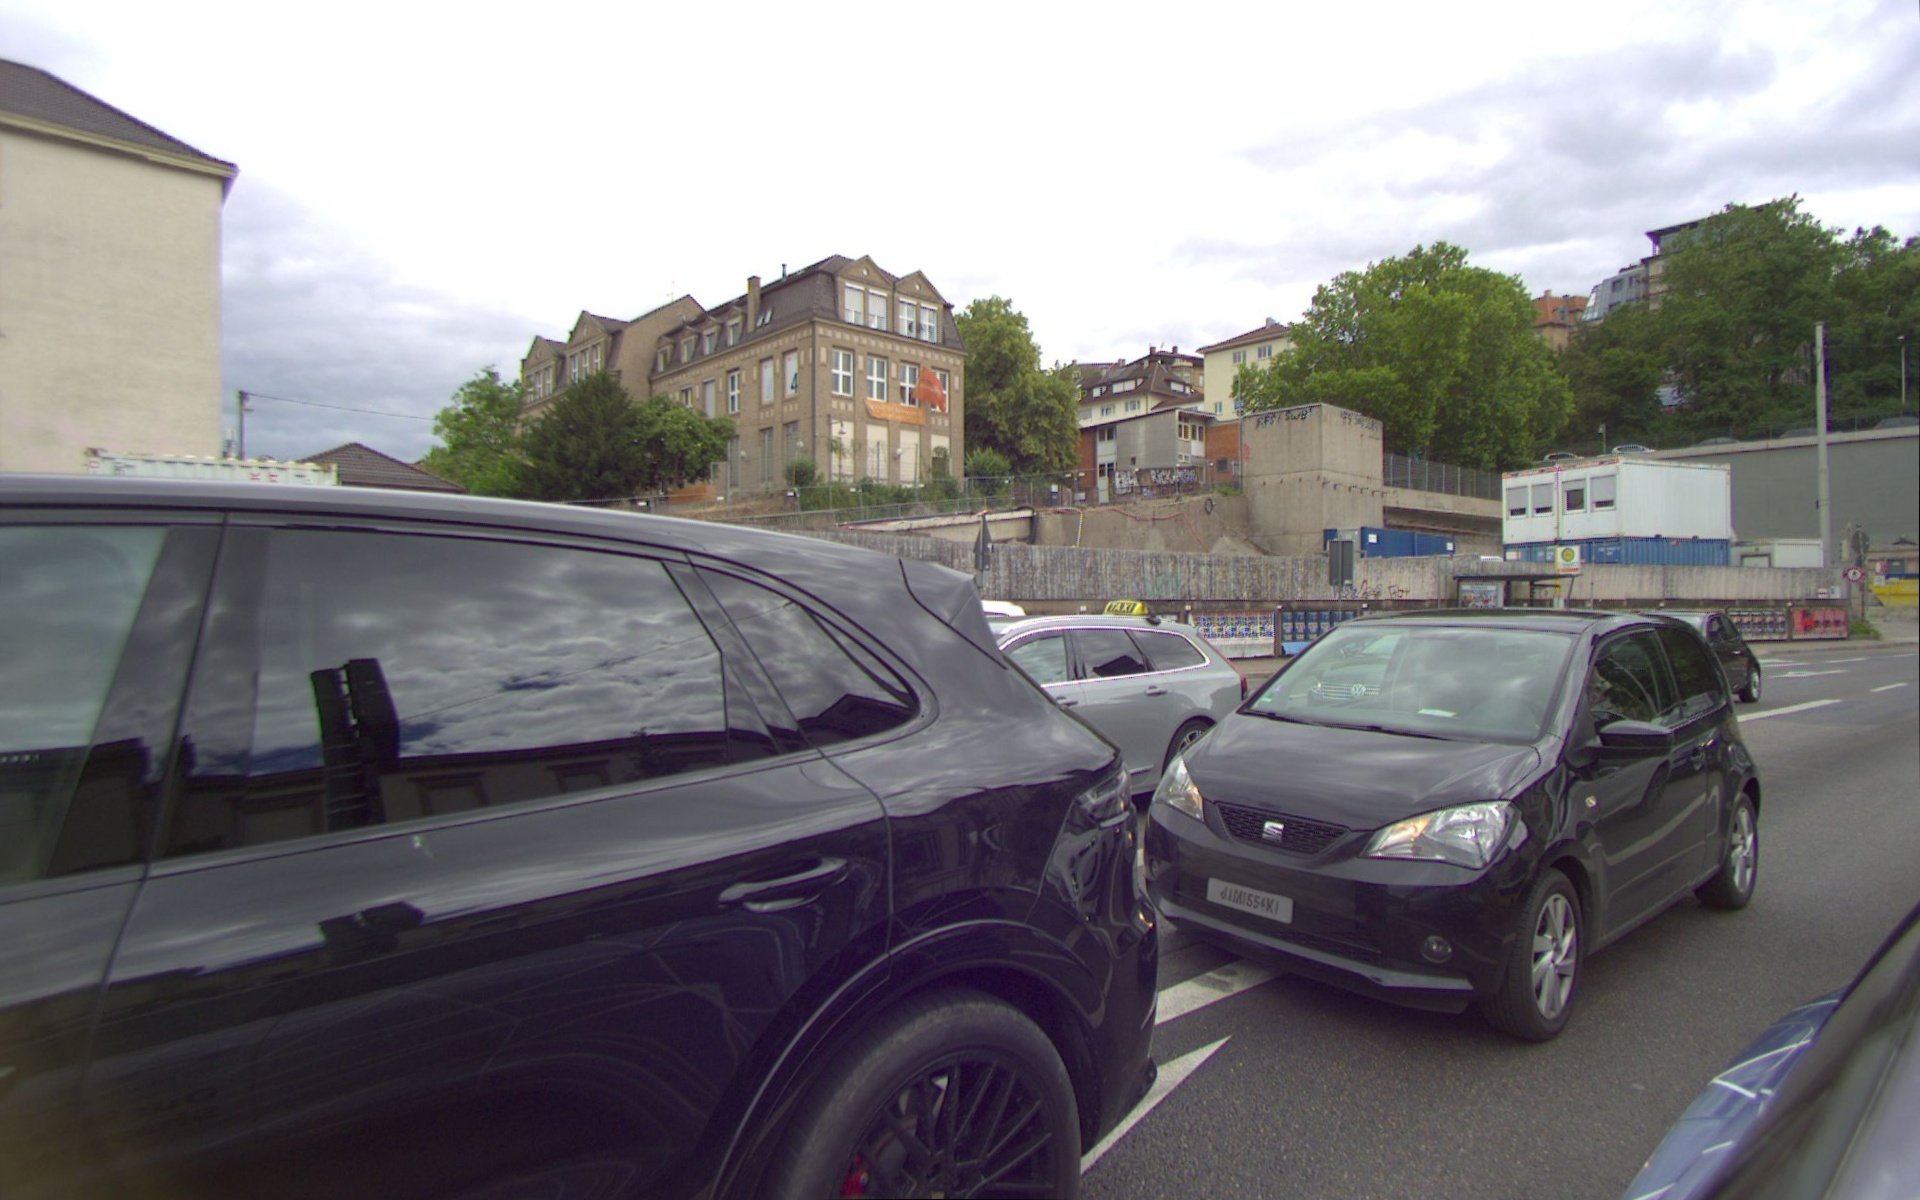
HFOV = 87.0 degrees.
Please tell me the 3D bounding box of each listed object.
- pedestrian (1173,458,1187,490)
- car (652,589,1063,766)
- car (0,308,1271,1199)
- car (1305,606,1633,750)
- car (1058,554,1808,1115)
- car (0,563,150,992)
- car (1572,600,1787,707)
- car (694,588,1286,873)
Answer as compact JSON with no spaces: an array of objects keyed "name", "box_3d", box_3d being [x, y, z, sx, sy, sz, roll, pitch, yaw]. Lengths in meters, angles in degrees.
[{"name":"pedestrian","box_3d":[12.938,-7.396,59.569,0.558,1.817,0.555,0,0,-33]},{"name":"car","box_3d":[-0.941,0.639,10.597,4.004,1.484,1.824,-1,0,-42]},{"name":"car","box_3d":[-1.659,0.561,1.661,4.497,1.689,1.998,-1,0,-39]},{"name":"car","box_3d":[6.022,0.775,11.800,4.139,1.381,1.827,1,0,-38]},{"name":"car","box_3d":[2.410,0.637,4.713,3.841,1.575,1.661,-1,0,-39]},{"name":"car","box_3d":[-5.063,0.642,3.451,3.581,1.529,1.826,-1,0,-39]},{"name":"car","box_3d":[11.323,0.771,15.867,3.711,1.478,1.721,1,-2,-38]},{"name":"car","box_3d":[0.398,0.663,7.334,4.142,1.484,1.825,-1,0,-40]}]
